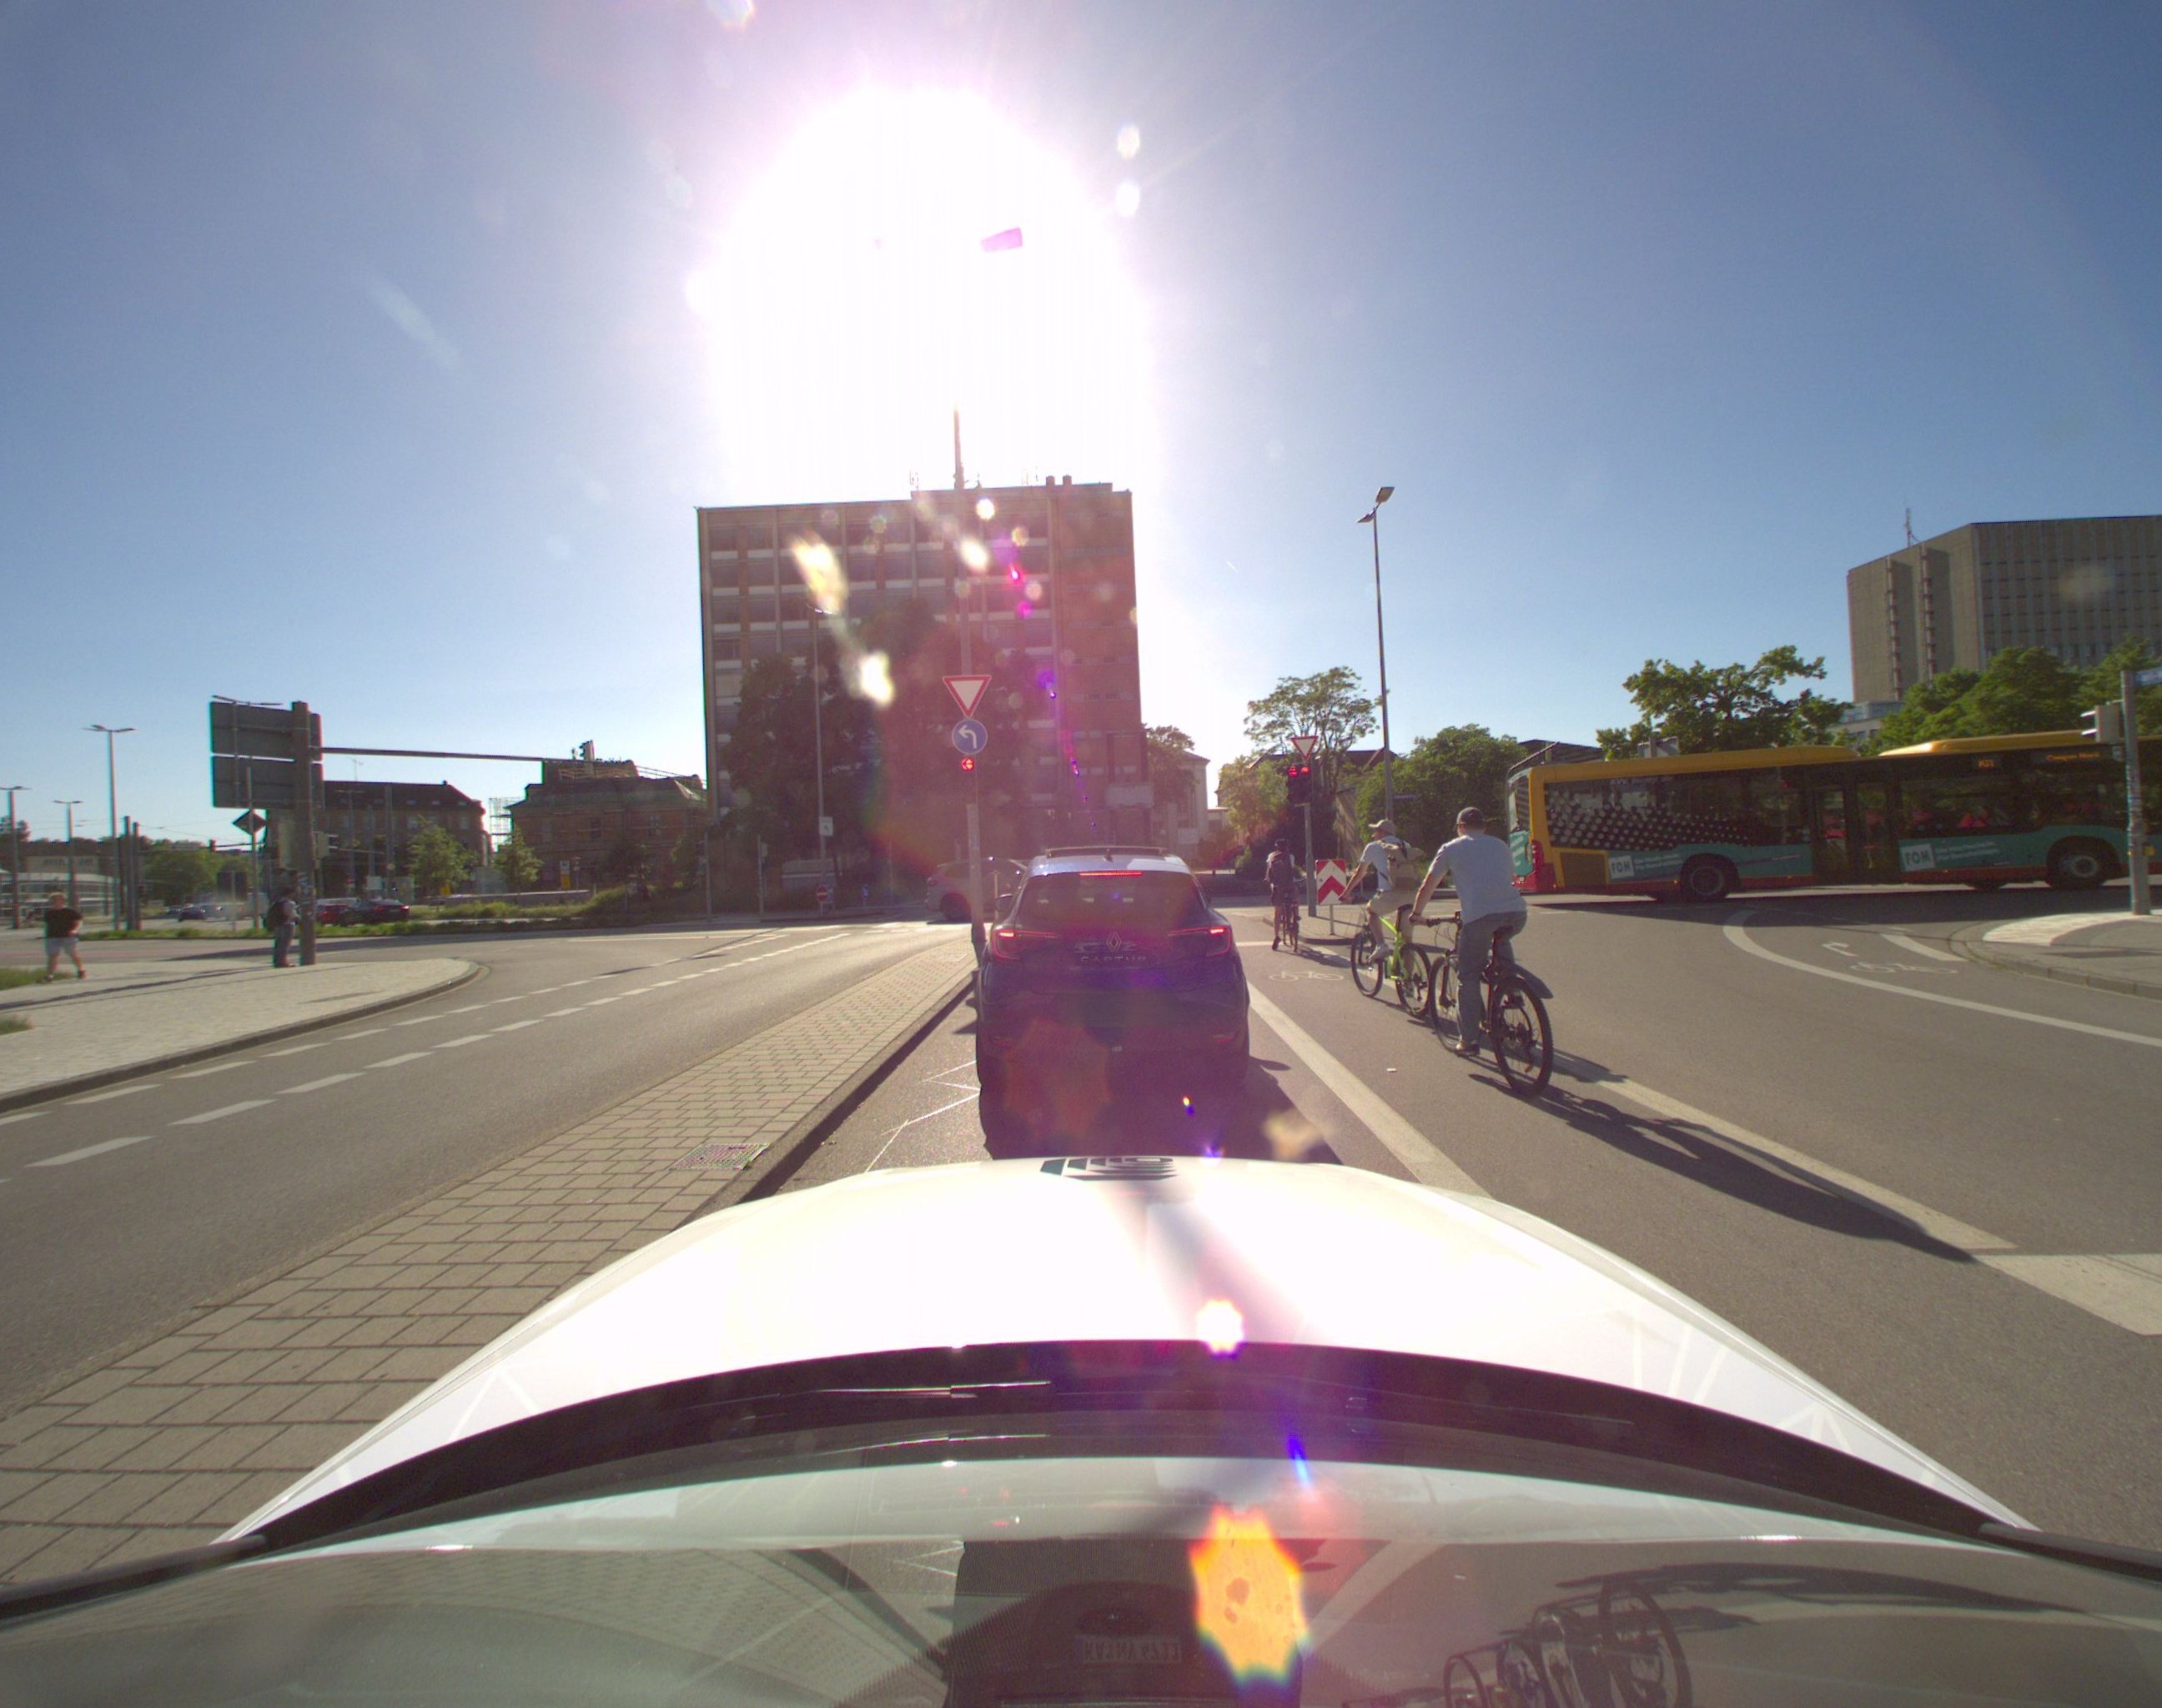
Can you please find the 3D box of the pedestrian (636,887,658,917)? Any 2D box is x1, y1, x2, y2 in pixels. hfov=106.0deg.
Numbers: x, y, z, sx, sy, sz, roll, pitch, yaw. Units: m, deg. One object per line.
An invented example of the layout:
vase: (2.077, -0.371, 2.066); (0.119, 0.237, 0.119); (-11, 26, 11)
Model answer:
pedestrian: (-31.037, 3.417, 58.238); (0.816, 2.013, 1.021); (-3, -1, 25)

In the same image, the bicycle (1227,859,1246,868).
bicycle: (15.808, 0.948, 82.839); (1.770, 0.823, 0.763); (-2, -1, -9)

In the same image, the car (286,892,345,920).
car: (-60.721, 4.141, 64.569); (4.951, 2.013, 2.085); (-3, -1, 30)

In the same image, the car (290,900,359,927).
car: (-47.962, 3.776, 51.647); (3.771, 1.518, 2.012); (-3, -1, 27)

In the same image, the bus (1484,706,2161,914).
bus: (15.861, -0.752, 17.610); (12.329, 3.570, 3.263); (-2, 0, 15)

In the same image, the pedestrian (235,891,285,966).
pedestrian: (-19.248, 1.728, 19.105); (0.627, 1.697, 0.608); (-3, -1, 25)

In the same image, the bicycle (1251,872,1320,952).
bicycle: (3.226, 0.886, 12.993); (0.613, 1.138, 1.826); (-2, 0, 0)

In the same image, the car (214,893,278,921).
car: (-82.755, 5.246, 80.692); (6.867, 2.547, 3.032); (-3, -1, 33)

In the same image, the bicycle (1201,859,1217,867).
bicycle: (15.555, 1.112, 99.021); (1.764, 0.893, 0.766); (-2, -1, 2)

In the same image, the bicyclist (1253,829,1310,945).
bicyclist: (3.200, 0.517, 13.057); (0.674, 1.785, 0.939); (-1, -1, 0)

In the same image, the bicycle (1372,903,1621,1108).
bicycle: (2.761, 0.939, 5.696); (0.745, 1.050, 1.903); (-3, 0, 1)

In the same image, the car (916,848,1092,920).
car: (-2.215, 0.873, 24.029); (4.697, 1.861, 2.011); (-3, -1, 10)

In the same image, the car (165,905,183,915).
car: (-159.257, 9.788, 142.968); (3.948, 1.673, 2.013); (-3, -1, 40)

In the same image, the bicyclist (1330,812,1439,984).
bicyclist: (2.953, 0.406, 8.023); (0.672, 1.583, 1.081); (0, 0, 1)

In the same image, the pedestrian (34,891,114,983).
pedestrian: (-21.337, 1.742, 17.260); (0.856, 1.845, 0.847); (-3, -1, 25)

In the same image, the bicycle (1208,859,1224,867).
bicycle: (15.700, 1.058, 94.650); (1.764, 0.898, 0.766); (-2, -1, 2)

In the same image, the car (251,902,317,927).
car: (-53.582, 4.084, 54.762); (3.771, 1.518, 2.012); (-3, -1, 27)

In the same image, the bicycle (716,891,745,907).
bicycle: (-22.073, 2.840, 51.288); (1.848, 0.958, 0.627); (-3, -1, 26)

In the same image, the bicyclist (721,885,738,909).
bicyclist: (-22.151, 2.700, 51.298); (0.630, 1.412, 0.653); (-3, -1, 26)

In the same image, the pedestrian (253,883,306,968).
pedestrian: (-18.177, 1.610, 18.468); (0.673, 1.855, 0.608); (-3, -1, 25)

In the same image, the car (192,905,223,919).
car: (-99.281, 6.607, 92.552); (4.005, 1.439, 2.079); (-3, 0, 38)

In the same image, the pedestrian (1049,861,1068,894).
pedestrian: (-1.309, 1.369, 47.596); (0.926, 1.855, 0.809); (-3, -1, 11)

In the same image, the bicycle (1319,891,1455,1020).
bicycle: (2.960, 0.935, 8.076); (0.669, 1.050, 1.844); (0, 0, 1)

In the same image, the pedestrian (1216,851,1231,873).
pedestrian: (13.553, 0.754, 77.665); (1.152, 2.013, 1.165); (-2, -1, 2)

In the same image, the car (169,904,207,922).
car: (-92.025, 6.045, 83.914); (4.795, 1.582, 2.115); (-3, 0, 37)

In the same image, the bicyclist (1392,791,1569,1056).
bicyclist: (2.736, 0.450, 5.672); (0.737, 1.674, 0.865); (-2, -1, 0)

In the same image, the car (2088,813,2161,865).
car: (34.962, -0.541, 25.521); (4.103, 1.606, 1.915); (-2, 0, 7)

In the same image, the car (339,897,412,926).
car: (-42.389, 3.449, 48.913); (3.771, 1.518, 2.012); (-3, -1, 27)

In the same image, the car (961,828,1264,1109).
car: (0.221, 0.683, 6.802); (1.788, 1.655, 3.853); (-1, 0, 1)
